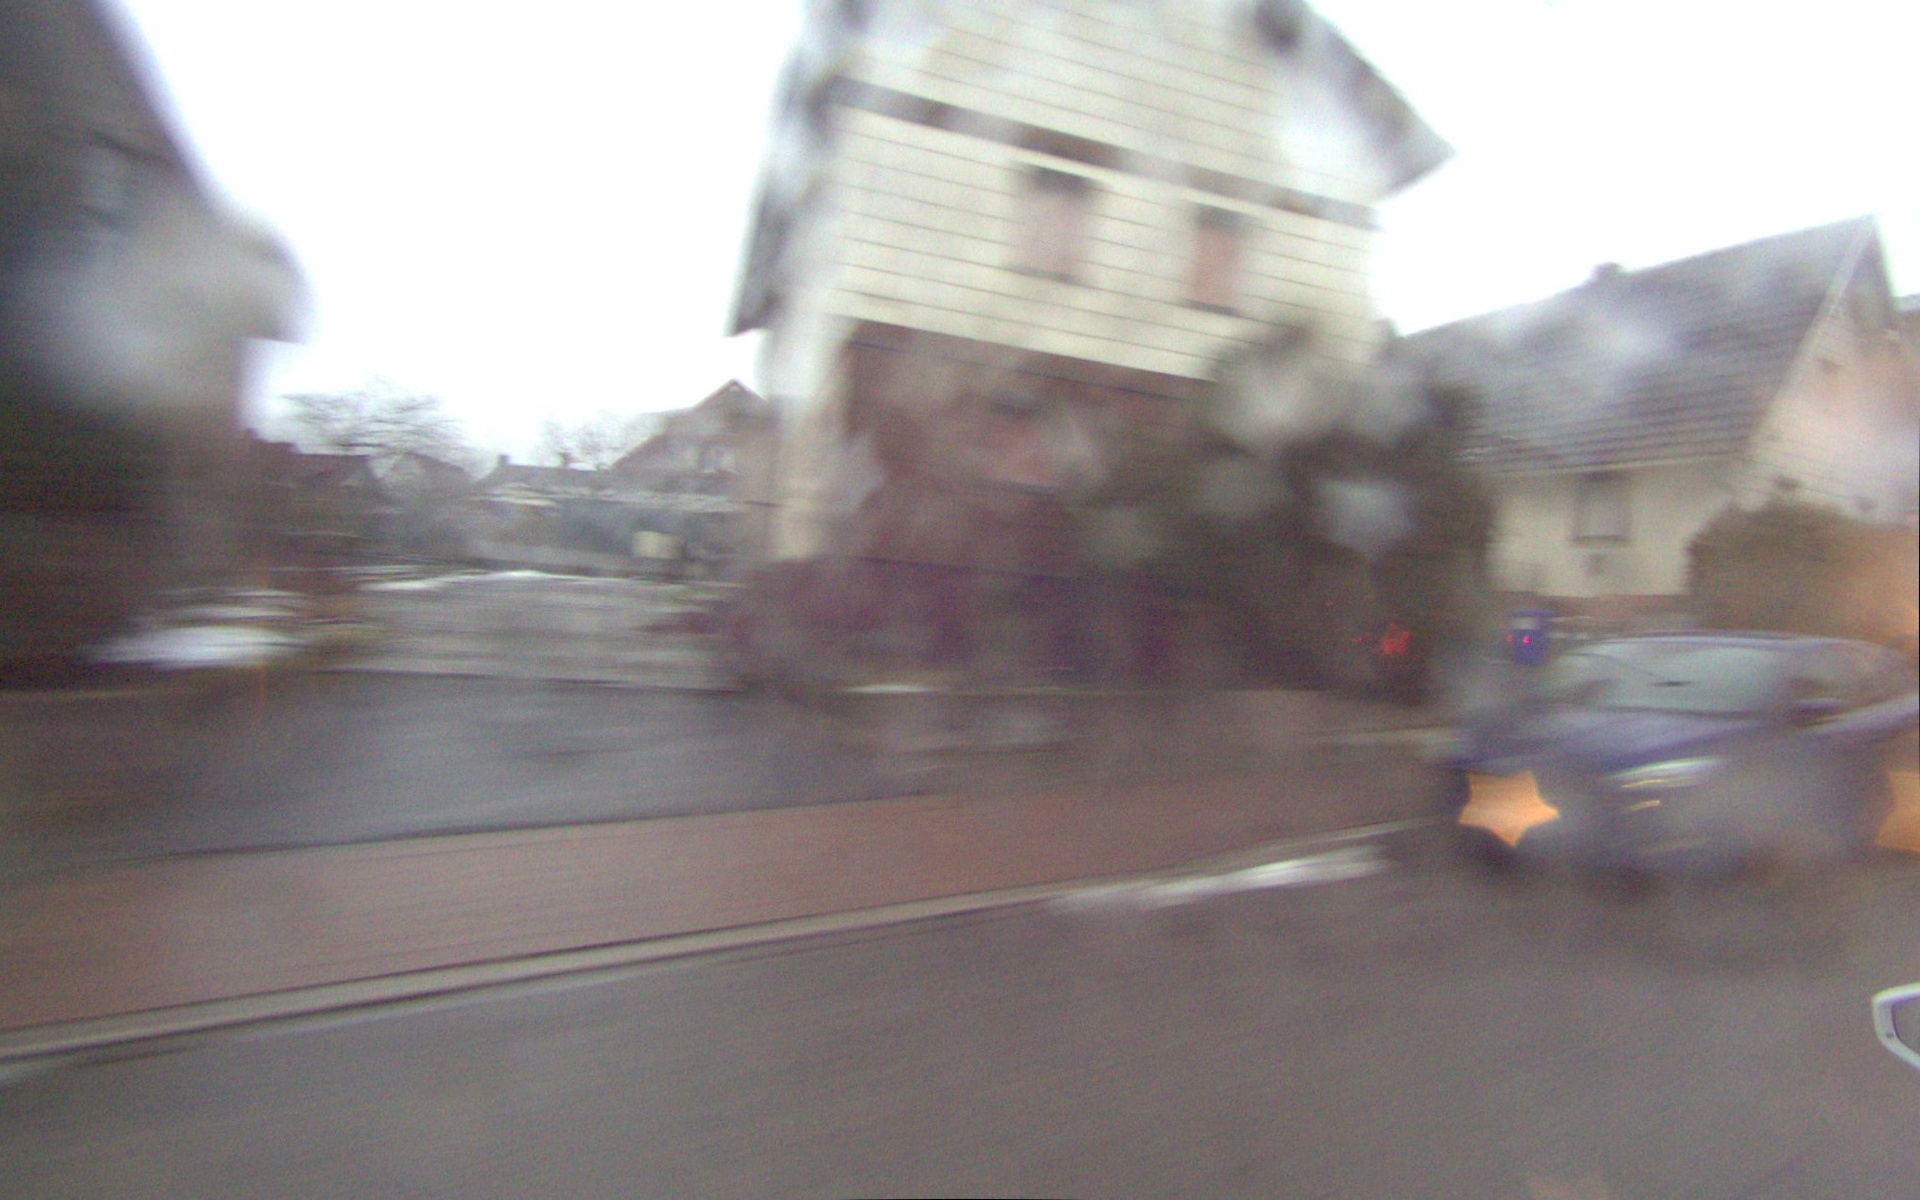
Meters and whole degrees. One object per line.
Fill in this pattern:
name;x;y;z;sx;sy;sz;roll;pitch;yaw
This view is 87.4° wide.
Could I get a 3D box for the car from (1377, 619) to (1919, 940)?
car;4.939;0.941;6.709;4.259;1.523;1.785;2;-1;-31
